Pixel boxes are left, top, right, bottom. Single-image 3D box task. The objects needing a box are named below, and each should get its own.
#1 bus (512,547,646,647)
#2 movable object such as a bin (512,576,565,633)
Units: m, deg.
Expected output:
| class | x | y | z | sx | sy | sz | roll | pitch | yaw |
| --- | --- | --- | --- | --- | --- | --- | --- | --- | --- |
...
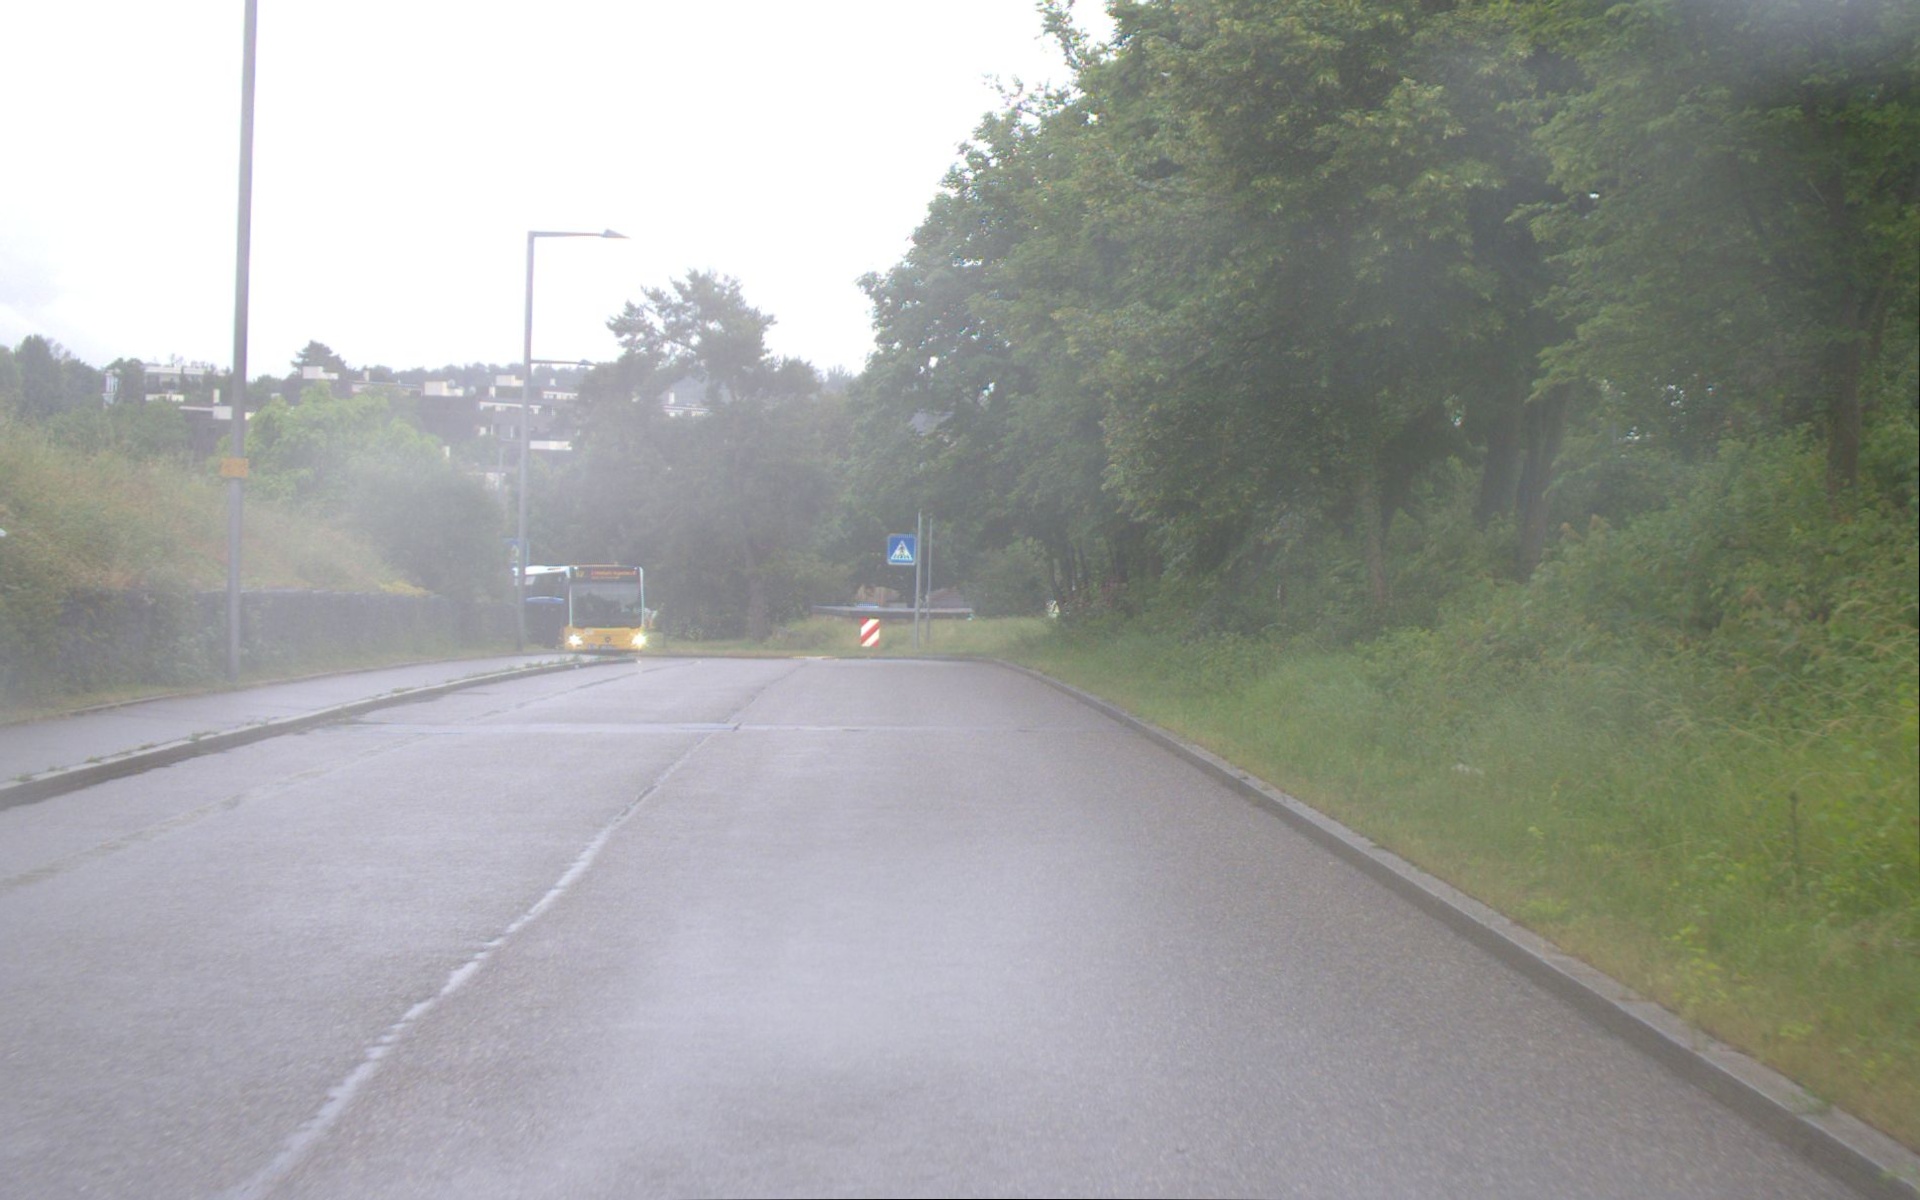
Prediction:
| class | x | y | z | sx | sy | sz | roll | pitch | yaw |
| --- | --- | --- | --- | --- | --- | --- | --- | --- | --- |
| bus | -12.418 | -0.030 | 111.235 | 2.639 | 3.057 | 10.858 | 0 | -1 | -15 |
| movable object such as a bin | -10.503 | 0.103 | 85.622 | 1.131 | 1.335 | 1.399 | 4 | -1 | -11 |
